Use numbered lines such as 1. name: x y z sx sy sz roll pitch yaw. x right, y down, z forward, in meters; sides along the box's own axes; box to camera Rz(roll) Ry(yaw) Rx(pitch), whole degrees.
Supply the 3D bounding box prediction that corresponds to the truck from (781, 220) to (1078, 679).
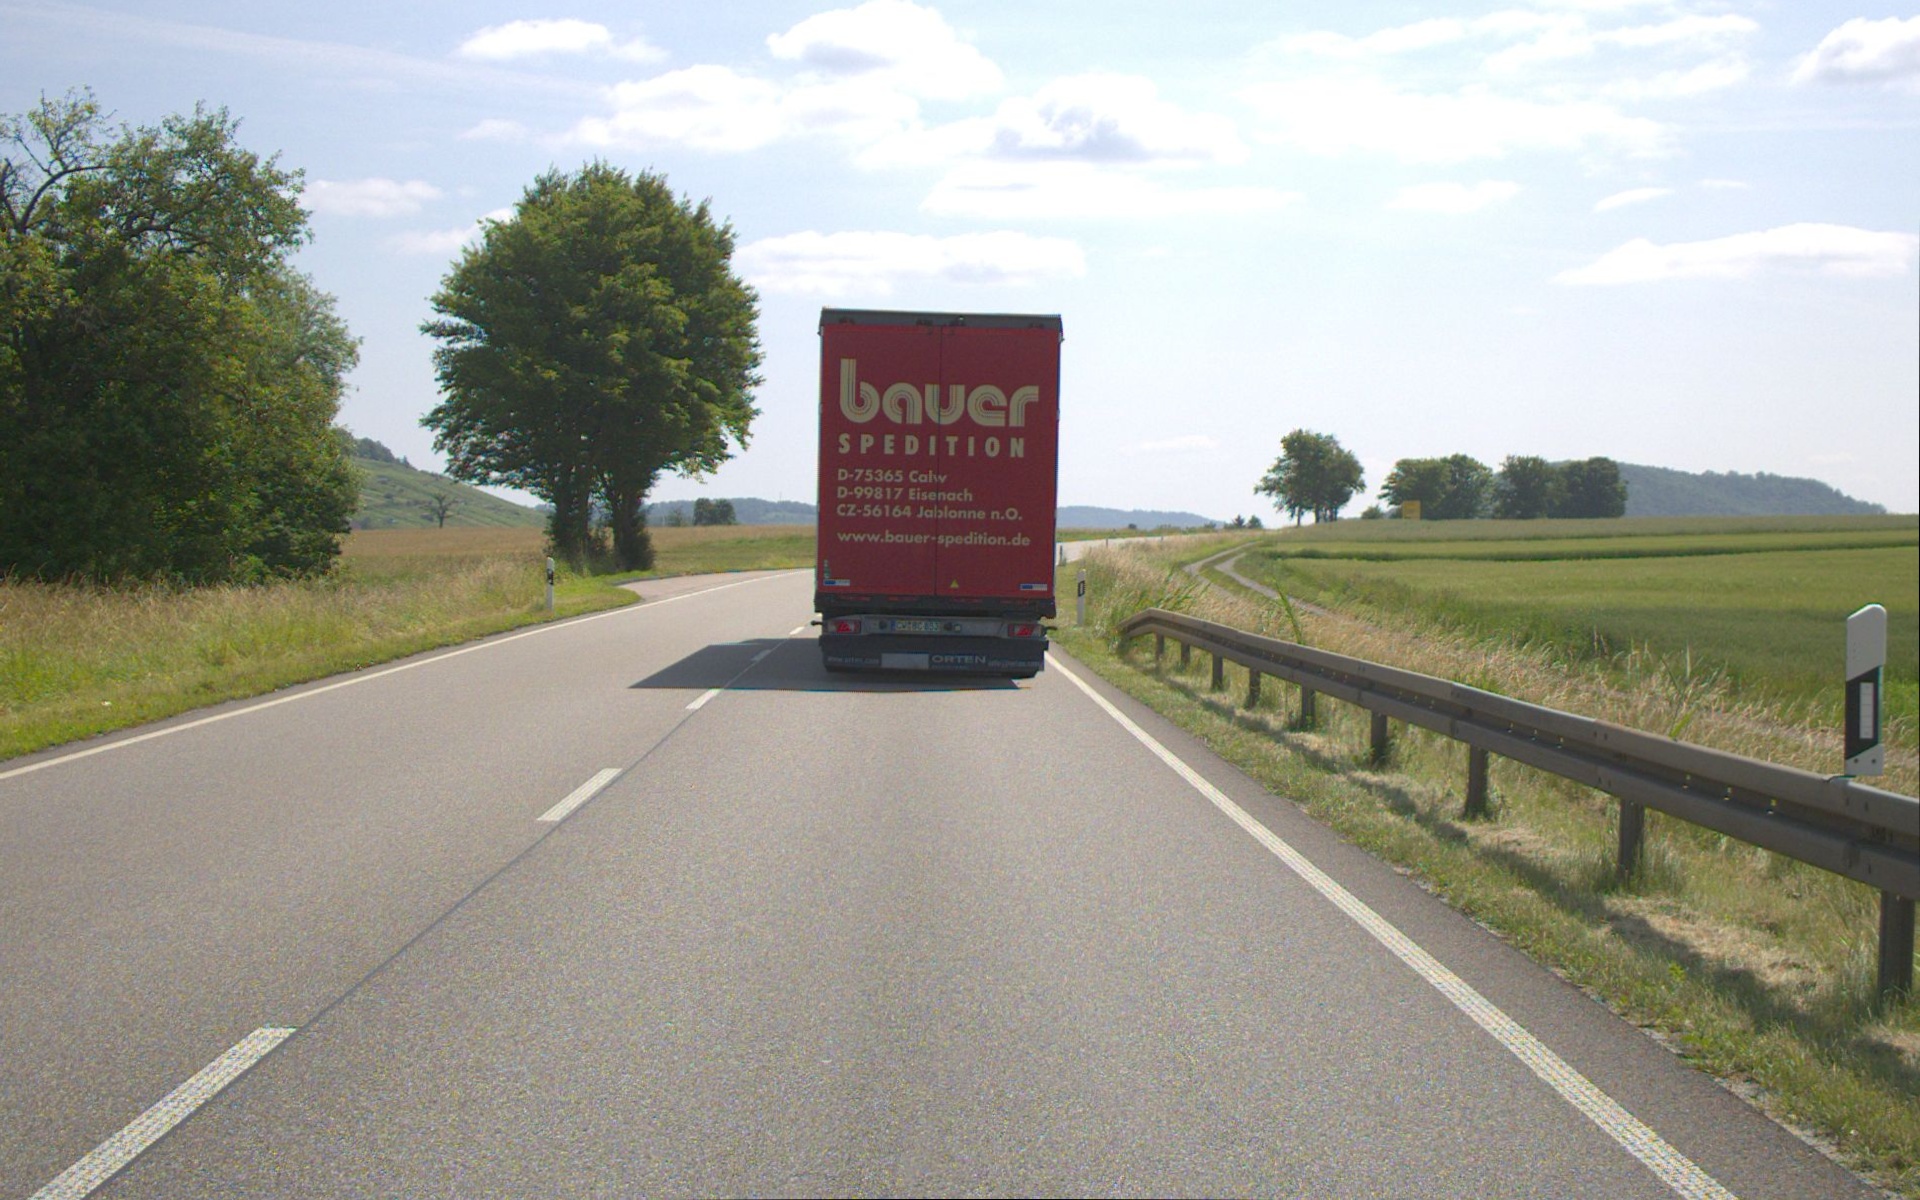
1. truck: -0.476 -1.594 40.421 2.975 4.697 9.366 1 0 -2
